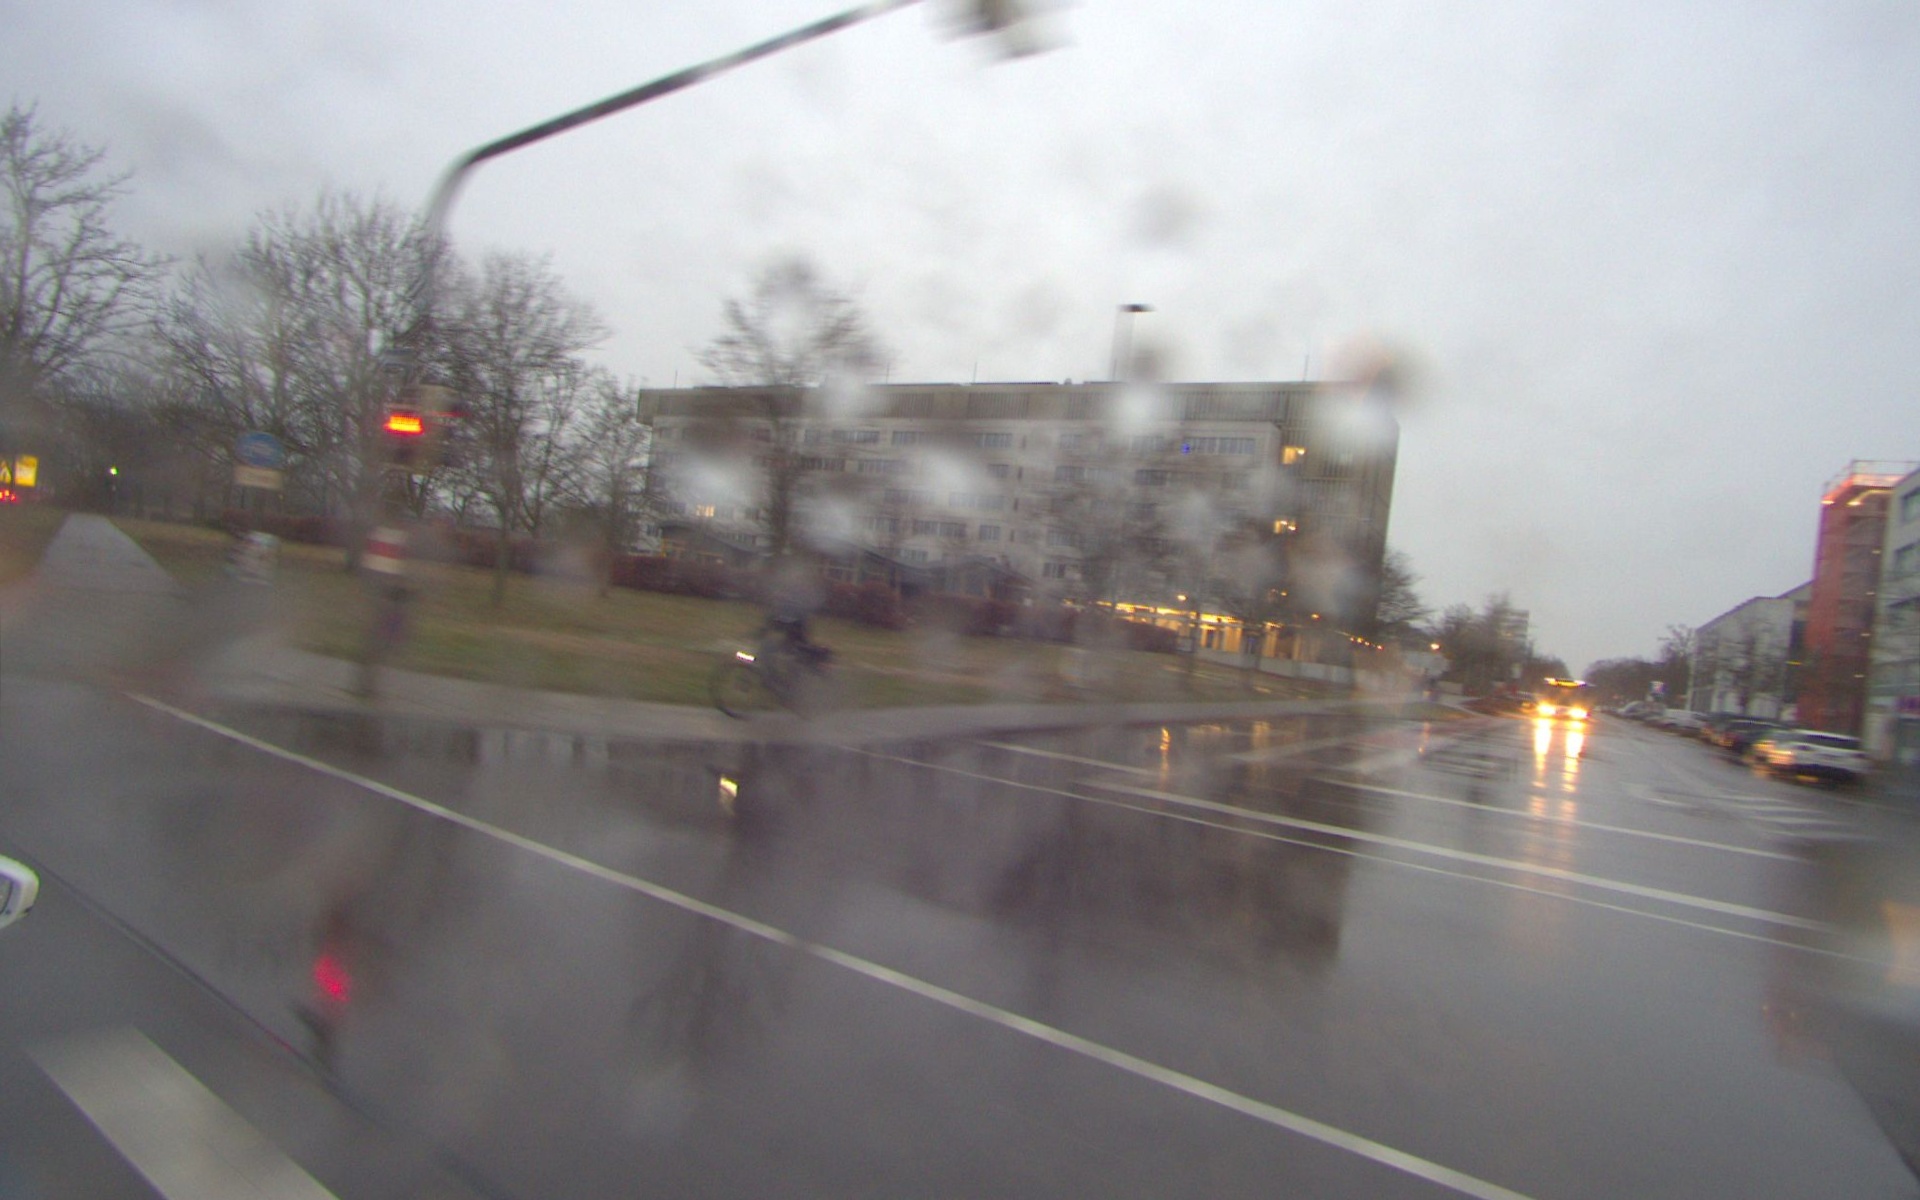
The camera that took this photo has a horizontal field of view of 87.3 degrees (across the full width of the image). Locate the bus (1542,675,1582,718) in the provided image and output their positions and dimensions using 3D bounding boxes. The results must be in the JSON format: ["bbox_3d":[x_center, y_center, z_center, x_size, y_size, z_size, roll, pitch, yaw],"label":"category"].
[{"bbox_3d":[46.486,7.524,77.633,2.259,2.742,8.140,6,-3,32],"label":"bus"}]

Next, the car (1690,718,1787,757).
[{"bbox_3d":[43.919,7.731,56.850,4.056,1.546,1.605,6,-3,32],"label":"car"}]

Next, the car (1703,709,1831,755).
[{"bbox_3d":[40.565,6.648,50.736,4.737,1.573,1.770,6,-3,34],"label":"car"}]

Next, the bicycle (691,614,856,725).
[{"bbox_3d":[-2.427,0.921,13.381,1.022,1.230,1.967,9,0,28],"label":"bicycle"}]

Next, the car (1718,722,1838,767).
[{"bbox_3d":[38.628,6.808,47.629,4.066,1.437,1.771,6,-3,32],"label":"car"}]

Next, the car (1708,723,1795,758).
[{"bbox_3d":[43.066,7.656,54.839,3.440,1.328,1.704,6,-3,32],"label":"car"}]

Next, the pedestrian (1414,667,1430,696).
[{"bbox_3d":[34.320,6.063,74.727,0.790,2.036,0.639,6,-2,38],"label":"pedestrian"}]

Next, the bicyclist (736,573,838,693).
[{"bbox_3d":[-2.298,0.436,13.386,0.912,1.446,0.752,6,-2,34],"label":"bicyclist"}]

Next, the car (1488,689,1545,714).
[{"bbox_3d":[47.099,8.569,85.149,3.939,1.495,1.832,6,-3,37],"label":"car"}]

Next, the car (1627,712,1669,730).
[{"bbox_3d":[82.193,14.461,120.245,3.934,1.606,1.998,6,-3,32],"label":"car"}]

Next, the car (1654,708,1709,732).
[{"bbox_3d":[63.500,10.554,88.603,3.804,1.470,1.669,6,-3,34],"label":"car"}]

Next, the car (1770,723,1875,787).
[{"bbox_3d":[27.897,4.993,32.661,1.967,1.654,3.276,6,-3,32],"label":"car"}]

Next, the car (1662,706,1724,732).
[{"bbox_3d":[58.558,9.531,80.420,3.804,1.470,1.669,6,-3,34],"label":"car"}]

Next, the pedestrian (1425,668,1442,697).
[{"bbox_3d":[34.678,6.053,73.650,0.802,2.036,0.750,6,-2,32],"label":"pedestrian"}]

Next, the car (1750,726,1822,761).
[{"bbox_3d":[35.622,6.157,43.476,1.513,1.197,3.723,6,-3,27],"label":"car"}]
